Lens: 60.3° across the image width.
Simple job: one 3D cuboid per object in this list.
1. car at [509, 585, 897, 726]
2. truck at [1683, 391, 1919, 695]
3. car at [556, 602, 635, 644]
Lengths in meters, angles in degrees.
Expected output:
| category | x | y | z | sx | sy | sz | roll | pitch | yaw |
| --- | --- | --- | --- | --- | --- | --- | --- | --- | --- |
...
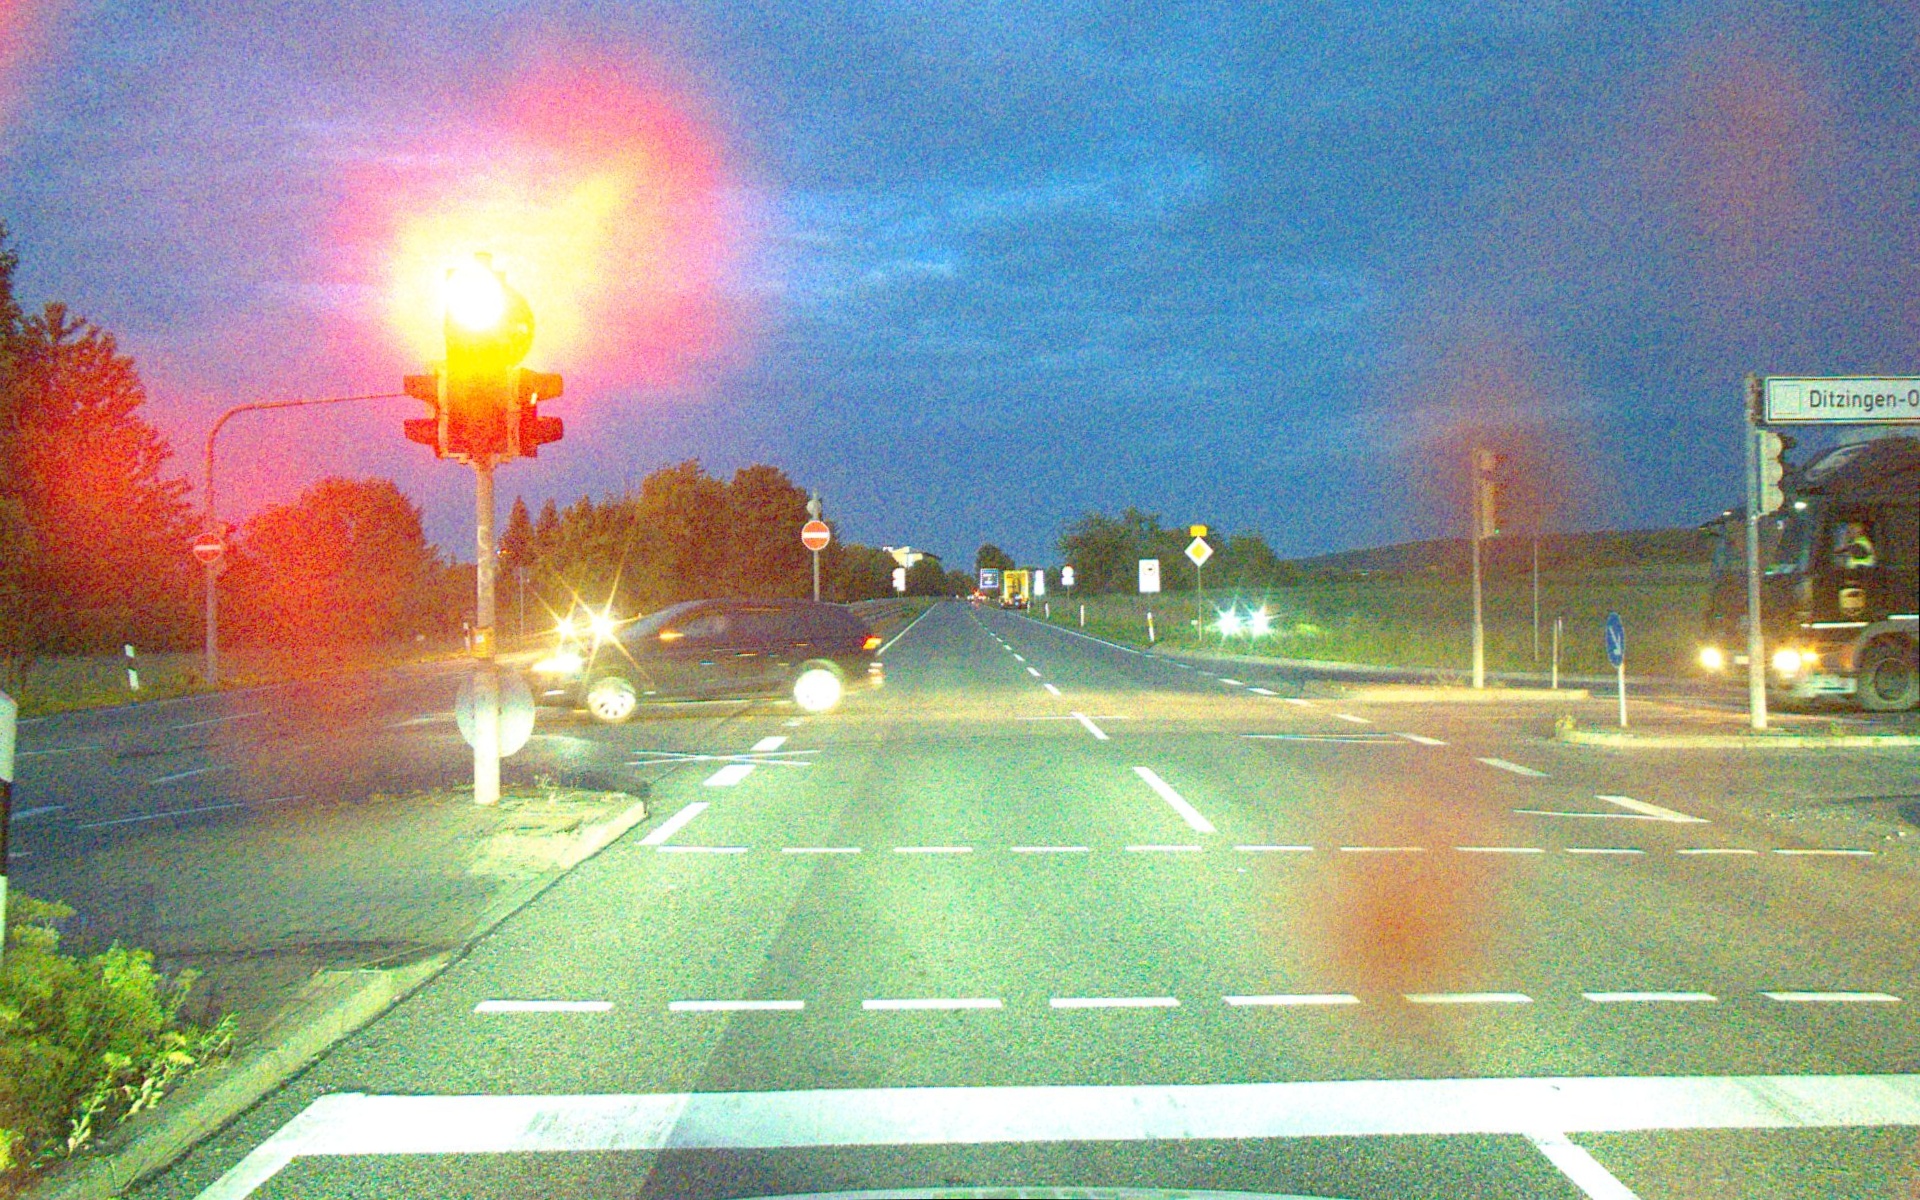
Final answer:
| category | x | y | z | sx | sy | sz | roll | pitch | yaw |
| --- | --- | --- | --- | --- | --- | --- | --- | --- | --- |
| car | -3.281 | 0.642 | 21.147 | 4.542 | 1.547 | 1.984 | -2 | 0 | -25 |
| truck | 15.979 | -0.847 | 24.000 | 9.844 | 4.049 | 2.922 | -1 | 0 | -5 |
| car | -12.850 | 0.788 | 58.504 | 1.953 | 1.411 | 3.999 | -1 | 0 | -1 |
